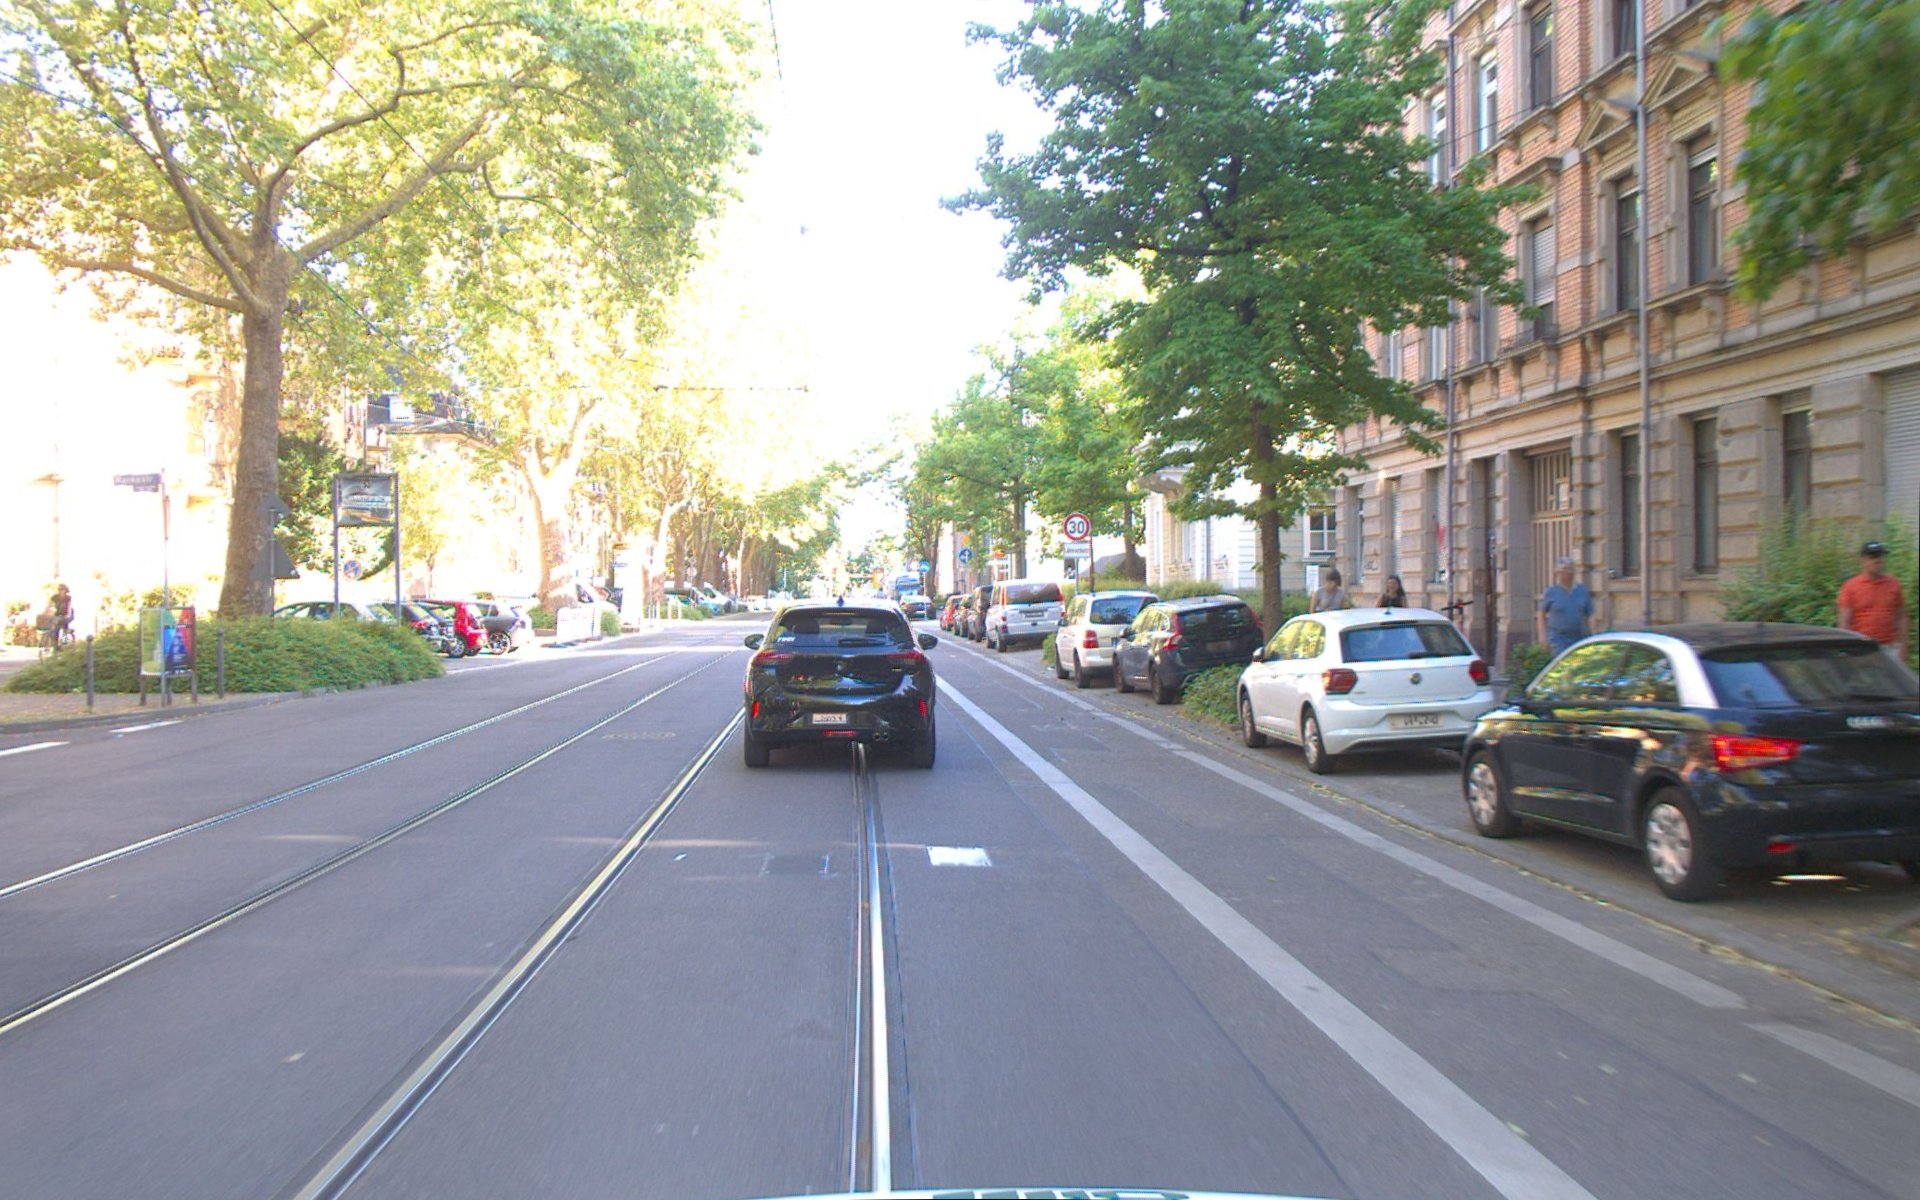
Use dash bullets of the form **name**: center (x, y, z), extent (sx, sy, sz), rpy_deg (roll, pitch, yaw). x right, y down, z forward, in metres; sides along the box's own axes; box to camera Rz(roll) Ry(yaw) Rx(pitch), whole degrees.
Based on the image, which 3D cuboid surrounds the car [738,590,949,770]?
- **car**: center (-1.100, 0.667, 15.694), extent (1.728, 1.486, 3.947), rpy_deg (1, 0, -4)

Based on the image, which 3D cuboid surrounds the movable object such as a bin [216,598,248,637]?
- **movable object such as a bin**: center (-21.413, 0.514, 48.653), extent (0.708, 1.129, 0.560), rpy_deg (1, 0, -3)

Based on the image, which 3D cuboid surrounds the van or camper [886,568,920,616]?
- **van or camper**: center (-4.159, -0.569, 119.657), extent (2.210, 3.272, 5.526), rpy_deg (-1, 0, -4)

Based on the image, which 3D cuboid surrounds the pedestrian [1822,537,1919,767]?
- **pedestrian**: center (7.466, 0.410, 13.490), extent (0.711, 1.824, 0.600), rpy_deg (0, 0, 23)

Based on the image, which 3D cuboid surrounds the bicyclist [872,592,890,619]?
- **bicyclist**: center (-4.511, 0.296, 94.364), extent (0.939, 1.525, 1.093), rpy_deg (1, 0, -6)

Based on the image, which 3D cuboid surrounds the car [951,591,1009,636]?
- **car**: center (0.716, 0.498, 61.234), extent (1.679, 1.540, 4.032), rpy_deg (-2, 0, -5)

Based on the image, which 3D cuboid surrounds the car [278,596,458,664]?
- **car**: center (-13.610, 0.687, 38.135), extent (3.529, 1.490, 1.686), rpy_deg (1, 0, -2)

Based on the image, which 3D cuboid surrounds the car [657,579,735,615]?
- **car**: center (-19.767, -0.212, 123.988), extent (5.524, 2.638, 2.196), rpy_deg (1, 0, -1)

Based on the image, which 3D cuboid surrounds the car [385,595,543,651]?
- **car**: center (-13.819, 0.633, 46.253), extent (3.909, 1.490, 1.852), rpy_deg (1, 0, -5)

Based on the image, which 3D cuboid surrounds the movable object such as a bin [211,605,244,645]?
- **movable object such as a bin**: center (-21.314, 0.720, 48.102), extent (0.710, 1.129, 0.542), rpy_deg (1, 0, -3)

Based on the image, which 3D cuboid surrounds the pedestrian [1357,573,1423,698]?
- **pedestrian**: center (6.130, 0.499, 23.592), extent (0.711, 1.739, 0.856), rpy_deg (1, 0, 0)

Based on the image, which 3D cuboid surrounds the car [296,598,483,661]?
- **car**: center (-14.126, 0.712, 41.106), extent (4.000, 1.490, 1.820), rpy_deg (1, 0, -2)

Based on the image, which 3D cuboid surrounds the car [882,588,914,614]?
- **car**: center (-4.768, 0.054, 126.822), extent (2.210, 1.873, 5.526), rpy_deg (-1, 0, -4)

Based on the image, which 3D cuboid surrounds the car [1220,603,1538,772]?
- **car**: center (4.017, 0.769, 16.605), extent (1.847, 1.391, 4.103), rpy_deg (-3, 0, -4)

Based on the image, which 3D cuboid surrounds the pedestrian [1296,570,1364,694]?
- **pedestrian**: center (5.252, 0.443, 23.502), extent (0.711, 1.722, 0.956), rpy_deg (1, 0, -2)

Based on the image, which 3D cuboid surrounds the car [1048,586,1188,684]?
- **car**: center (2.837, 0.605, 30.641), extent (1.847, 1.595, 4.238), rpy_deg (-3, 0, -4)

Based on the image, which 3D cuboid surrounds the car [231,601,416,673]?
- **car**: center (-13.761, 0.782, 35.899), extent (3.351, 1.490, 1.696), rpy_deg (1, 0, -2)

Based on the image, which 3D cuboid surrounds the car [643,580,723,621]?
- **car**: center (-18.621, 0.039, 111.334), extent (4.938, 2.415, 2.079), rpy_deg (-4, 0, -4)

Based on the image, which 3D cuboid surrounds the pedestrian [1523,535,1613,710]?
- **pedestrian**: center (6.502, 0.233, 17.683), extent (0.719, 1.824, 0.593), rpy_deg (1, 0, -34)

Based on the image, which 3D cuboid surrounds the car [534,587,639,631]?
- **car**: center (-16.123, 0.392, 71.516), extent (4.217, 1.832, 1.923), rpy_deg (0, 0, -7)

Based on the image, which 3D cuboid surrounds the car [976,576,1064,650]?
- **car**: center (1.617, 0.338, 46.417), extent (1.847, 1.883, 4.963), rpy_deg (-3, 0, -4)

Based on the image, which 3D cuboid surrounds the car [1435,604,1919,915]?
- **car**: center (4.456, 0.788, 10.111), extent (1.640, 1.437, 3.838), rpy_deg (-3, 0, -6)

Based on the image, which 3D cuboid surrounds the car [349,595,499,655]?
- **car**: center (-14.012, 0.646, 43.384), extent (3.351, 1.490, 1.758), rpy_deg (1, 0, -2)

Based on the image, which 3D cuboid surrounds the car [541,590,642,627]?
- **car**: center (-16.481, 0.369, 74.128), extent (4.217, 1.635, 1.923), rpy_deg (0, 0, -7)

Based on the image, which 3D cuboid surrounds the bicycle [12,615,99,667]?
- **bicycle**: center (-18.844, 0.838, 34.515), extent (0.951, 1.016, 2.573), rpy_deg (1, 0, -14)

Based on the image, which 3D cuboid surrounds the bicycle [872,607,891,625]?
- **bicycle**: center (-4.510, 0.891, 94.386), extent (0.949, 1.016, 2.580), rpy_deg (1, 0, -6)

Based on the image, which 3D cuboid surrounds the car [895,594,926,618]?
- **car**: center (-3.190, 0.390, 105.931), extent (1.768, 1.459, 3.996), rpy_deg (-1, -1, -4)

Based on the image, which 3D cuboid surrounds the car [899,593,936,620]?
- **car**: center (-2.489, 0.375, 95.636), extent (1.847, 1.459, 4.526), rpy_deg (-3, 0, -4)

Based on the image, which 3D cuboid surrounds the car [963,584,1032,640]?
- **car**: center (1.210, 0.381, 55.320), extent (1.848, 1.797, 4.674), rpy_deg (-1, 0, -4)

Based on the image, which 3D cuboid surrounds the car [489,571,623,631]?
- **car**: center (-15.966, 0.043, 65.601), extent (4.938, 2.299, 2.082), rpy_deg (1, 0, -8)

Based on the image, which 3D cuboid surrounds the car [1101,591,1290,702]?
- **car**: center (3.569, 0.659, 25.936), extent (1.848, 1.492, 4.588), rpy_deg (-3, 0, -6)

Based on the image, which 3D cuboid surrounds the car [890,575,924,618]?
- **car**: center (-3.661, -0.286, 113.115), extent (2.044, 2.820, 4.693), rpy_deg (-1, 1, -4)

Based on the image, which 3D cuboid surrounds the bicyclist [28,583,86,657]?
- **bicyclist**: center (-18.847, 0.412, 34.548), extent (0.786, 1.533, 1.113), rpy_deg (1, 0, -14)

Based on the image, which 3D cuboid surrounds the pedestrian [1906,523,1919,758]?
- **pedestrian**: center (7.750, 0.317, 12.640), extent (0.587, 1.824, 0.727), rpy_deg (1, 0, -7)

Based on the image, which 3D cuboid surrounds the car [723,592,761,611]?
- **car**: center (-24.545, 0.172, 186.497), extent (3.904, 2.049, 2.001), rpy_deg (1, 0, 2)

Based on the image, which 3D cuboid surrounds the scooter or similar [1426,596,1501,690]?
- **scooter or similar**: center (7.014, 0.579, 23.084), extent (0.564, 1.268, 1.334), rpy_deg (1, 0, -3)

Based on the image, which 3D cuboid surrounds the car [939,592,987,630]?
- **car**: center (0.099, 0.435, 69.934), extent (1.669, 1.448, 3.975), rpy_deg (-4, 0, -4)
